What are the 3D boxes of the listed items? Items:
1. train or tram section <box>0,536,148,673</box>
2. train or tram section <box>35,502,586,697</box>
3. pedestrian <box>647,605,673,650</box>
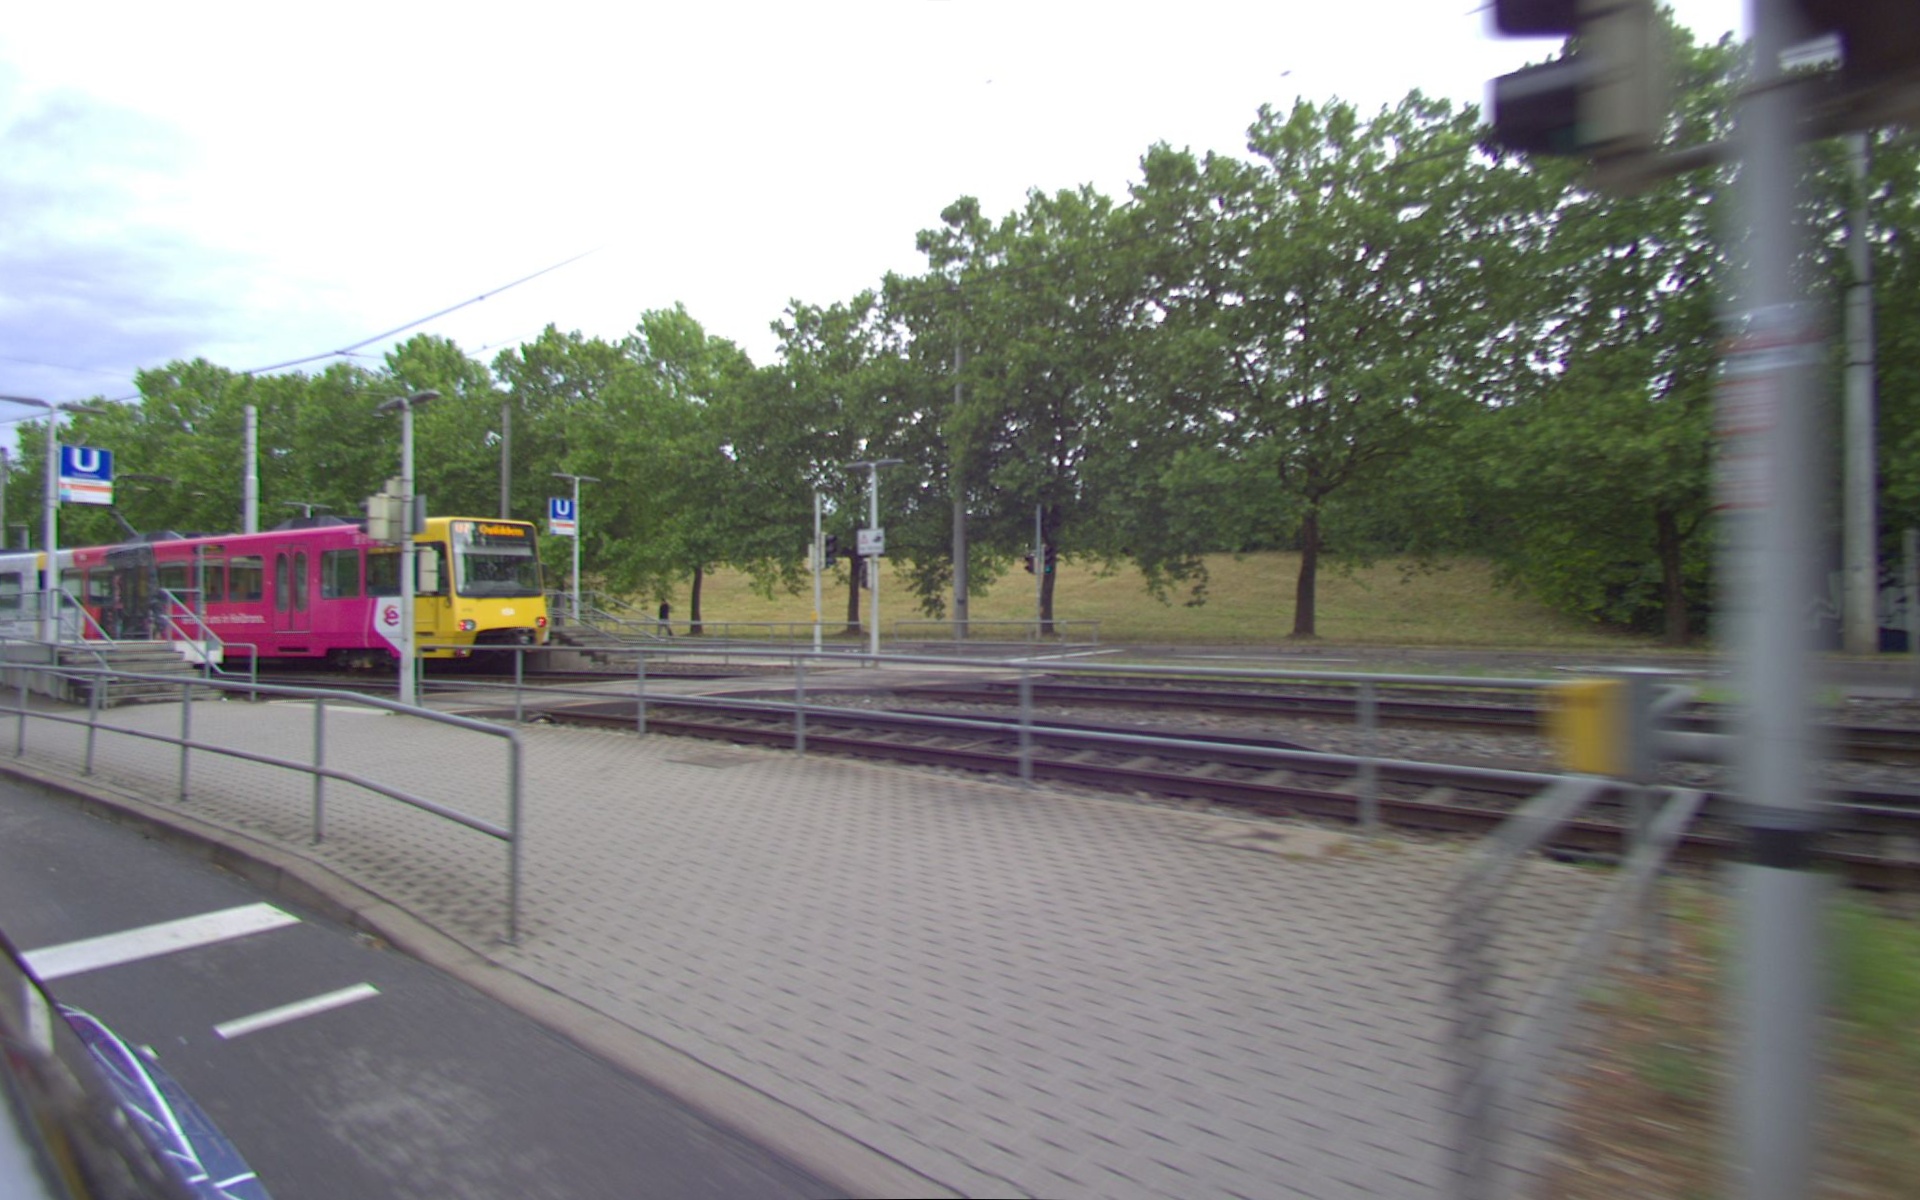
[{"bbox_3d":[-35.096,0.152,34.878,19.219,4.000,2.854,-1,2,25],"label":"train or tram section"},{"bbox_3d":[-17.812,0.009,26.421,19.235,3.990,2.851,0,2,28],"label":"train or tram section"},{"bbox_3d":[-12.644,1.152,42.690,0.763,1.835,0.721,-1,0,41],"label":"pedestrian"}]
